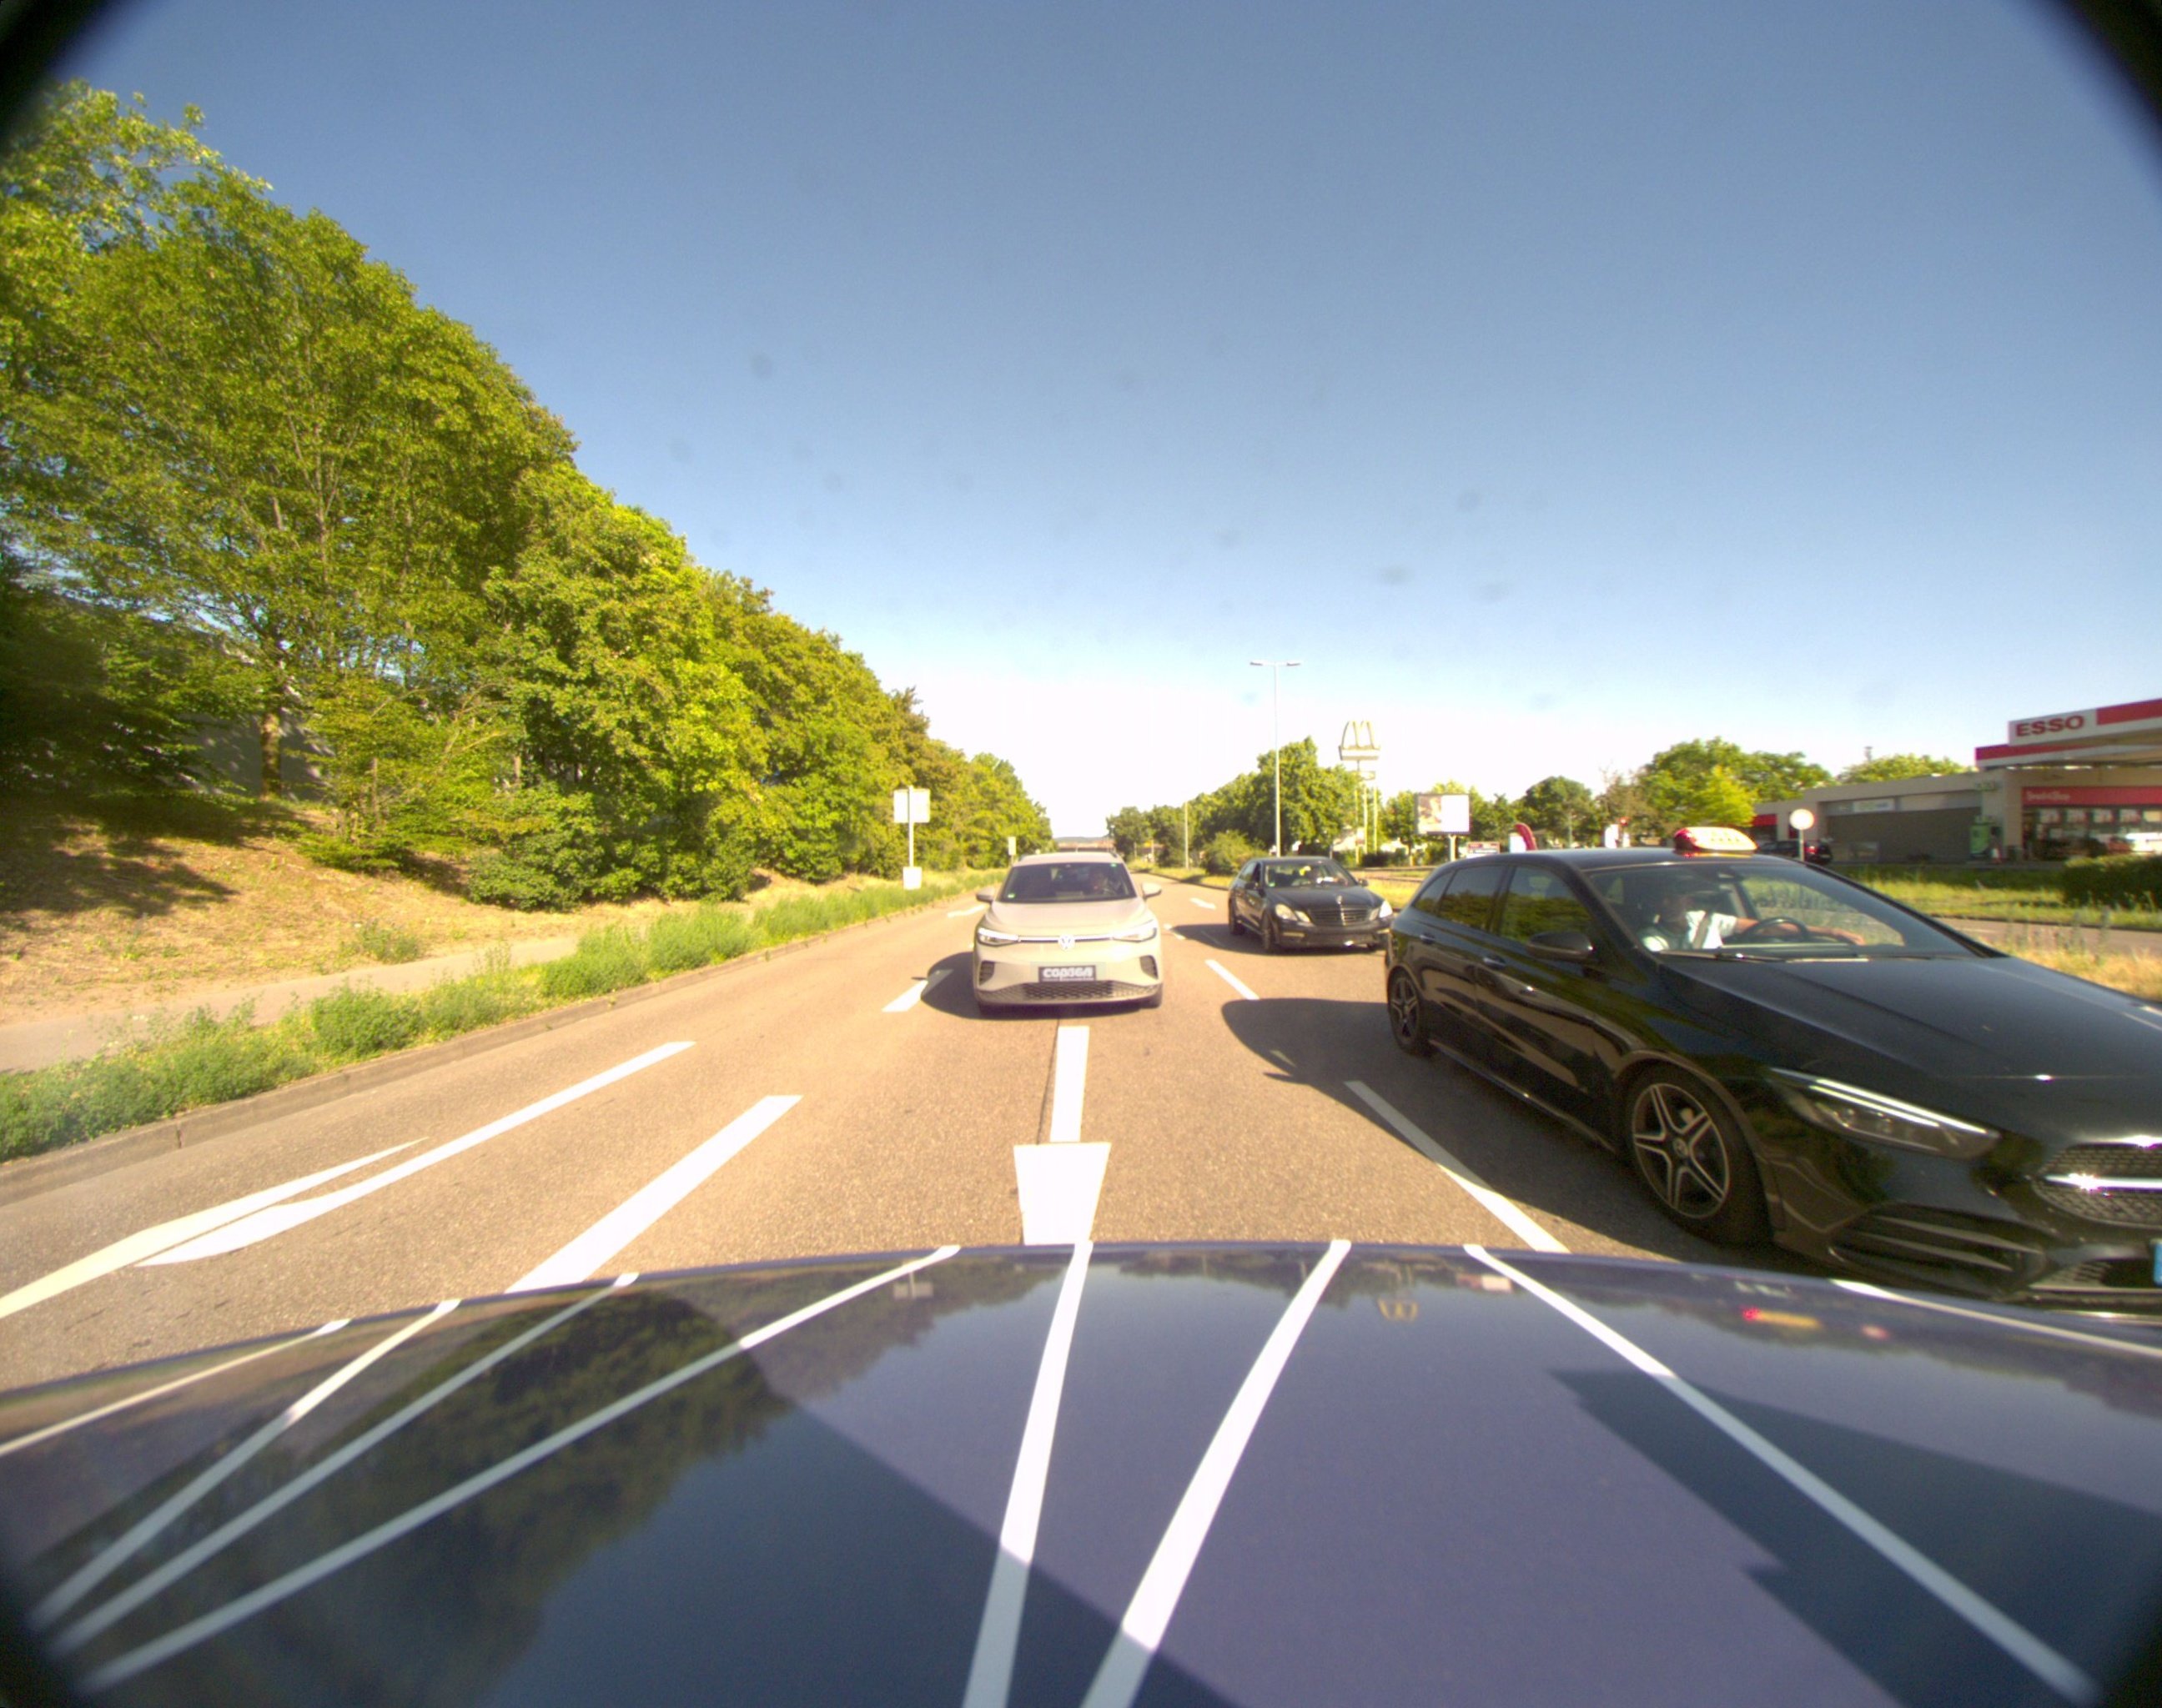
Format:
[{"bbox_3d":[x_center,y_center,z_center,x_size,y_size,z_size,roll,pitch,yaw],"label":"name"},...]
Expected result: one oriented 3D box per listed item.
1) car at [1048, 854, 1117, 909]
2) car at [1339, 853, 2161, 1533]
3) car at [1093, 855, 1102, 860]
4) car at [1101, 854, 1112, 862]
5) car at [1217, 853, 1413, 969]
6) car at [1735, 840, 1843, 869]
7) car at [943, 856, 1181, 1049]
[{"bbox_3d":[0.061,0.828,25.132,2.036,1.601,4.098,-2,0,1],"label":"car"},{"bbox_3d":[3.095,0.817,4.121,1.788,1.592,4.583,-2,0,0],"label":"car"},{"bbox_3d":[4.184,0.879,192.761,1.998,1.433,4.000,-1,0,1],"label":"car"},{"bbox_3d":[4.891,0.807,147.642,1.998,1.433,4.000,-1,0,1],"label":"car"},{"bbox_3d":[3.679,0.804,12.891,1.953,1.501,4.462,-2,1,1],"label":"car"},{"bbox_3d":[37.335,0.032,40.239,1.998,1.397,4.000,-1,0,0],"label":"car"},{"bbox_3d":[-0.144,0.871,8.704,2.025,1.601,4.098,-2,0,1],"label":"car"}]
